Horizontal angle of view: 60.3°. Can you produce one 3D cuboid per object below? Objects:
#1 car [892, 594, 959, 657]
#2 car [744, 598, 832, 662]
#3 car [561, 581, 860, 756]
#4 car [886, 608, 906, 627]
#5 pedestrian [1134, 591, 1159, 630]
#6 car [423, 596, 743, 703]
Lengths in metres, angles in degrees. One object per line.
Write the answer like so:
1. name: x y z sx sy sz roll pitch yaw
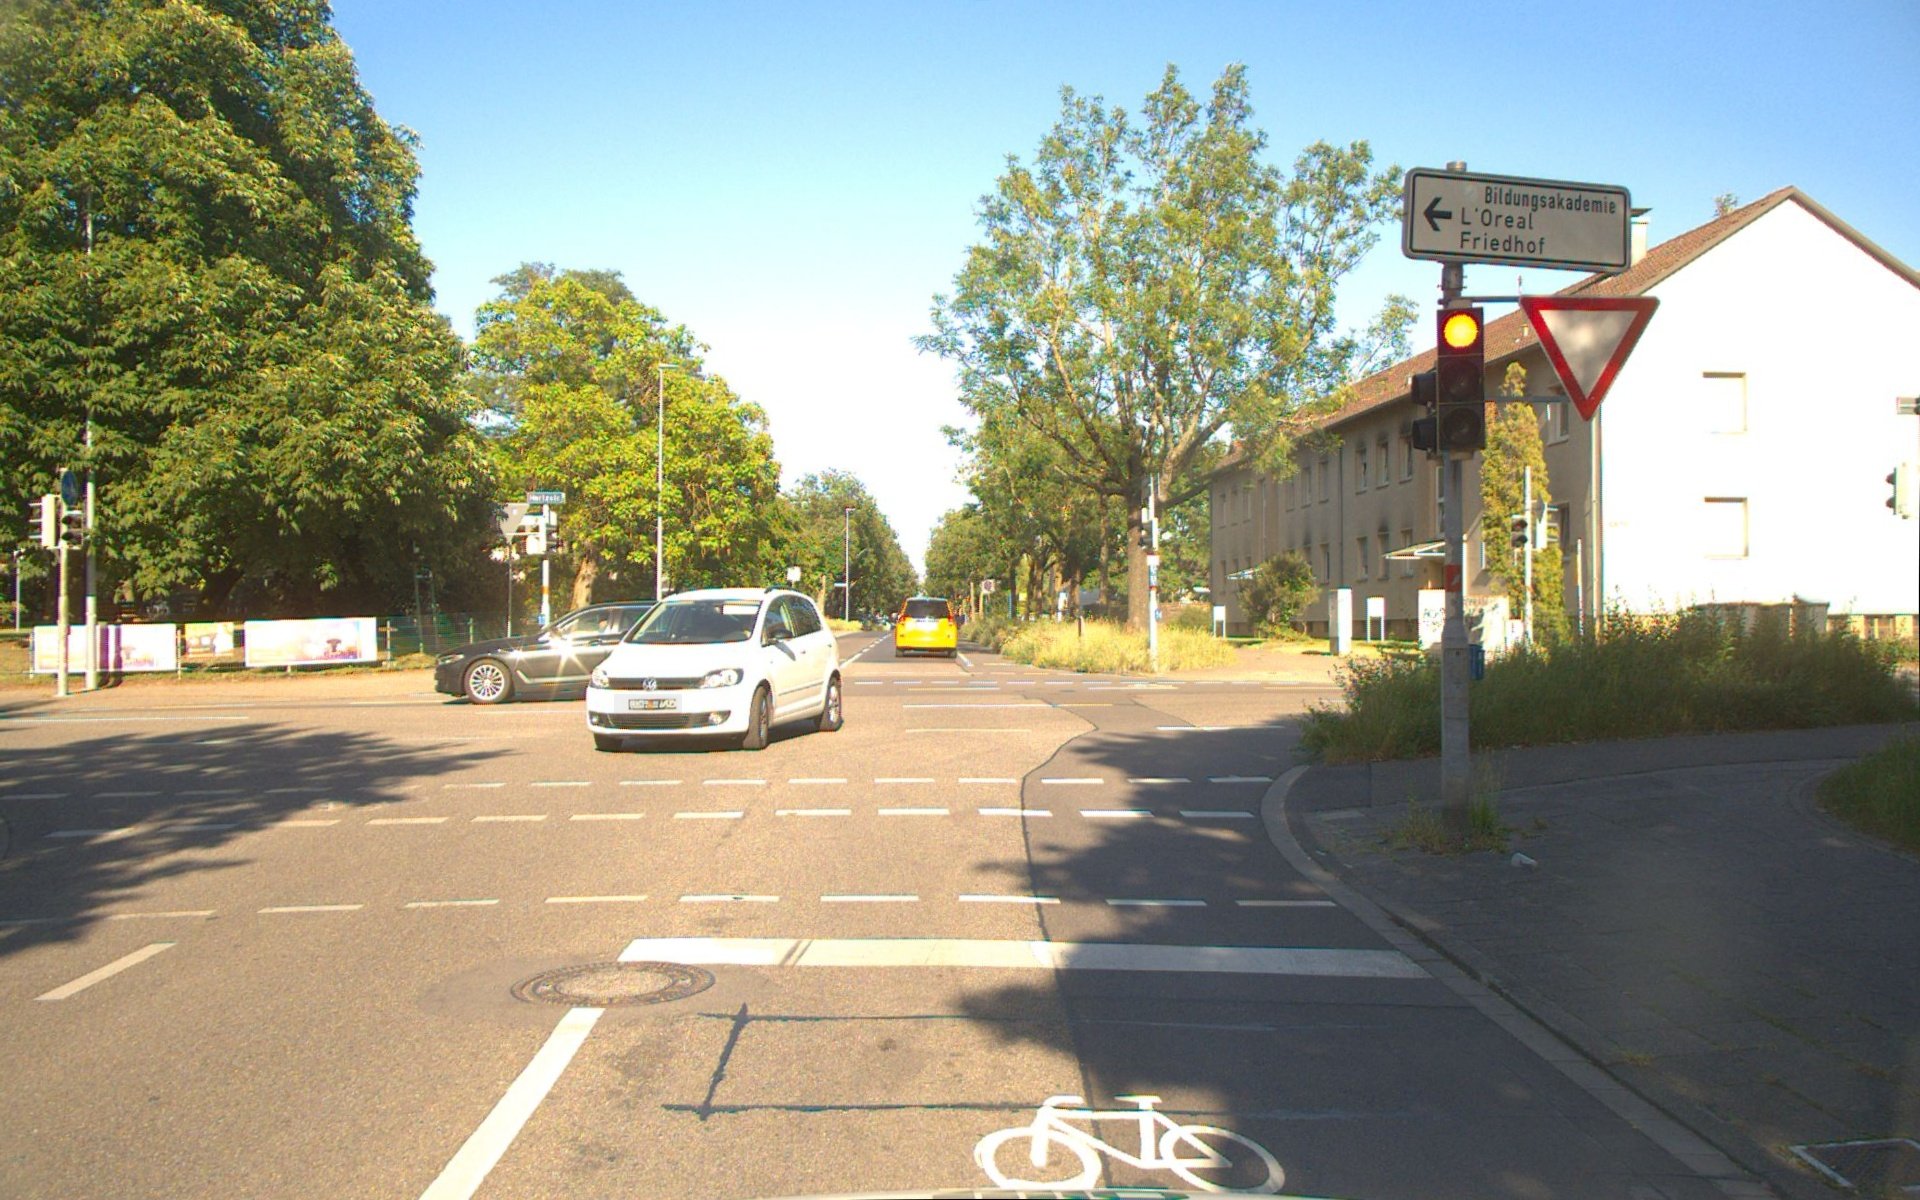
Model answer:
1. car: -0.919 0.687 45.042 1.716 1.610 3.999 1 0 -1
2. car: -3.968 0.668 38.536 1.676 1.410 3.471 0 0 0
3. car: -2.457 0.634 17.376 1.714 1.590 4.124 -2 0 12
4. car: -6.029 1.638 156.233 1.722 1.653 3.268 0 0 0
5. pedestrian: 7.498 0.409 66.567 0.825 1.519 0.924 2 0 -1
6. car: -5.772 0.723 25.733 4.642 1.455 1.995 -1 0 -11
